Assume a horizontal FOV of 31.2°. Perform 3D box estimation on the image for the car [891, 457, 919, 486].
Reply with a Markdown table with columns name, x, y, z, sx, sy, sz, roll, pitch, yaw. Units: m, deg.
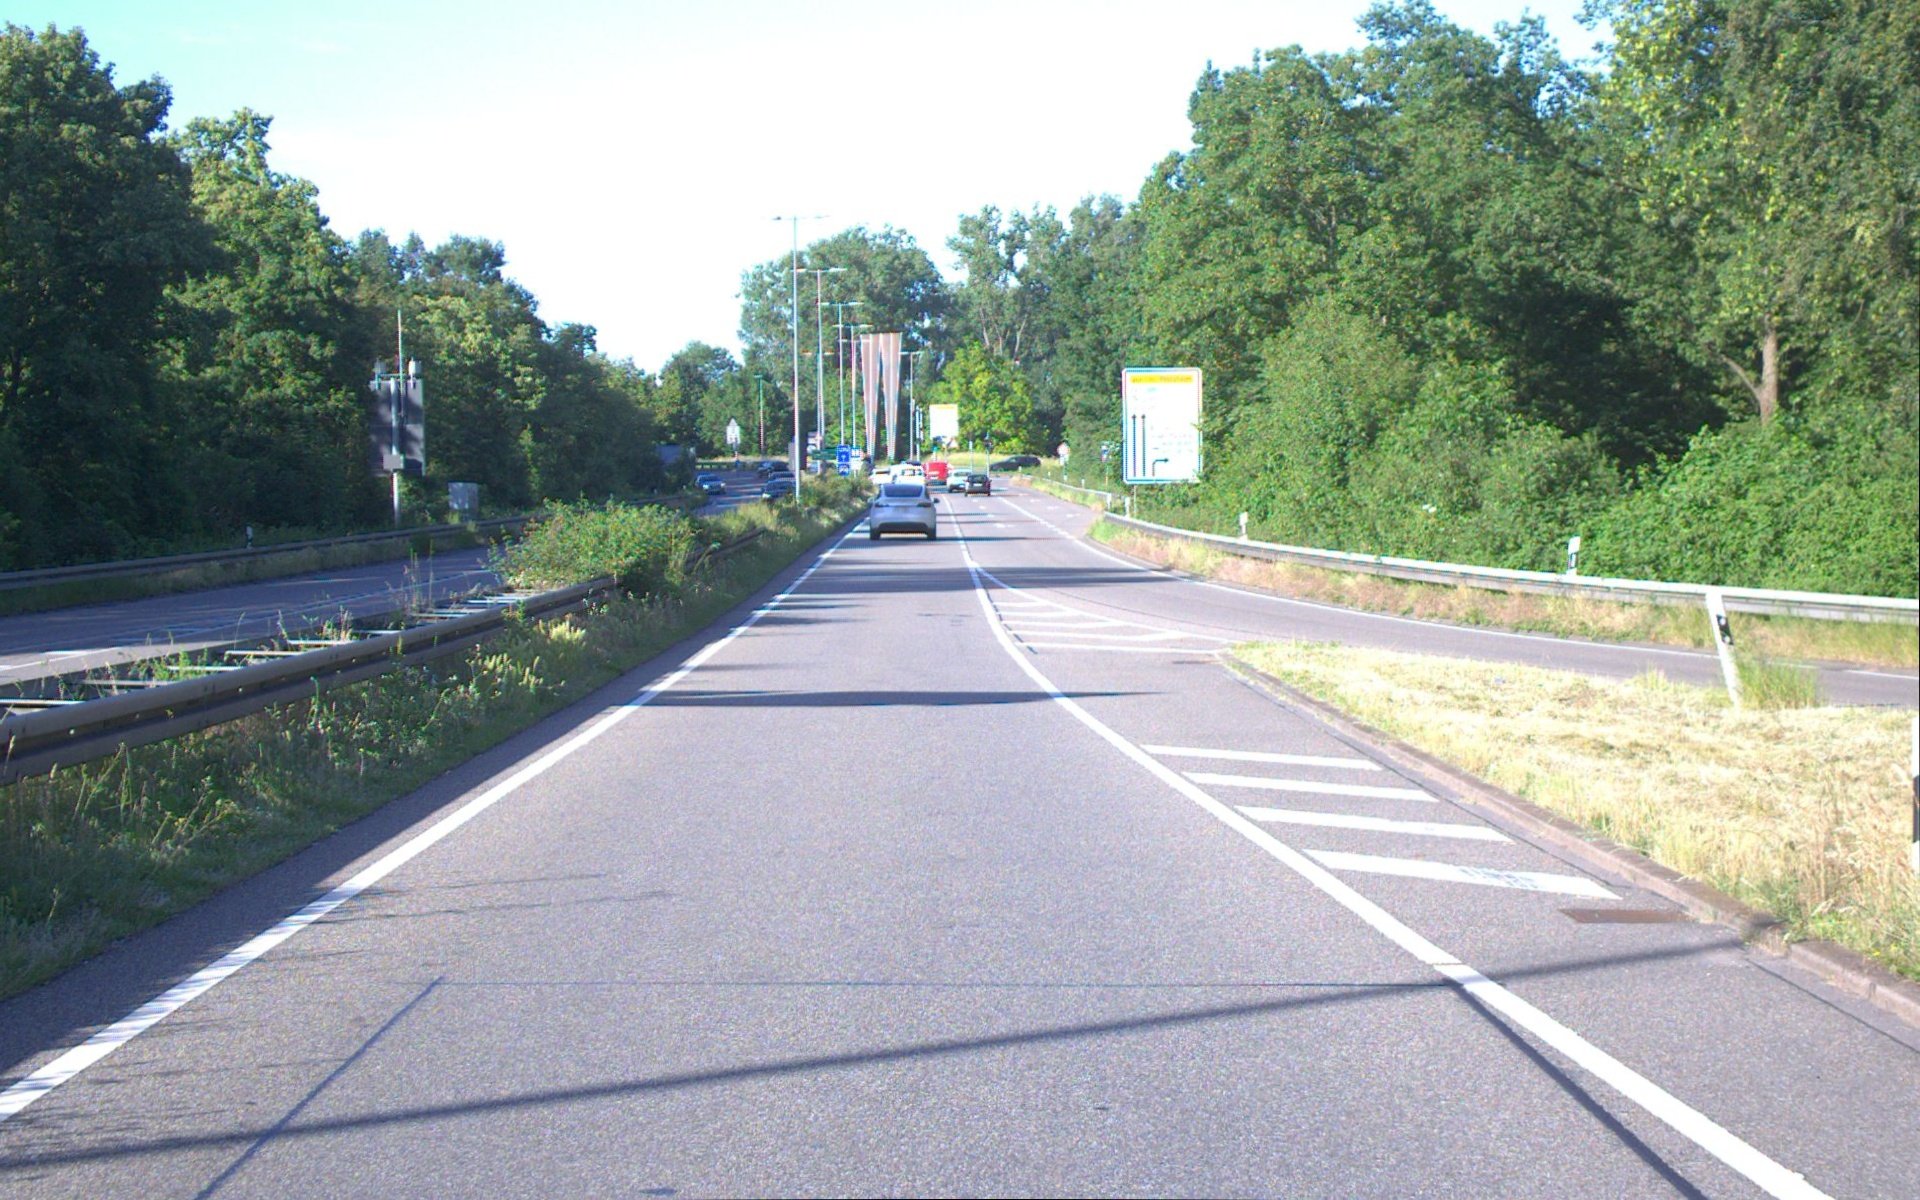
| name | x | y | z | sx | sy | sz | roll | pitch | yaw |
| --- | --- | --- | --- | --- | --- | --- | --- | --- | --- |
| car | -3.911 | -9.133 | 244.255 | 1.993 | 2.007 | 4.000 | 1 | 1 | -1 |

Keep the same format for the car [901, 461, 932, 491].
| name | x | y | z | sx | sy | sz | roll | pitch | yaw |
| --- | --- | --- | --- | --- | --- | --- | --- | --- | --- |
| car | -2.887 | -8.274 | 229.929 | 1.993 | 1.873 | 4.250 | -1 | 3 | -1 |

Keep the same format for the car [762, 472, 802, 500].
| name | x | y | z | sx | sy | sz | roll | pitch | yaw |
| --- | --- | --- | --- | --- | --- | --- | --- | --- | --- |
| car | -9.392 | -6.040 | 181.503 | 1.781 | 1.398 | 4.553 | -1 | 2 | 1 |

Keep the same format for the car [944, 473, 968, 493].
| name | x | y | z | sx | sy | sz | roll | pitch | yaw |
| --- | --- | --- | --- | --- | --- | --- | --- | --- | --- |
| car | -0.276 | -7.983 | 233.800 | 1.624 | 1.276 | 2.987 | 2 | 1 | -1 |

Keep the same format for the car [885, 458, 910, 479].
| name | x | y | z | sx | sy | sz | roll | pitch | yaw |
| --- | --- | --- | --- | --- | --- | --- | --- | --- | --- |
| car | -4.693 | -9.808 | 257.232 | 1.827 | 1.508 | 3.633 | 1 | 1 | -1 |

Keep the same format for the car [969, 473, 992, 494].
| name | x | y | z | sx | sy | sz | roll | pitch | yaw |
| --- | --- | --- | --- | --- | --- | --- | --- | --- | --- |
| car | 1.287 | -7.363 | 217.019 | 1.388 | 1.276 | 2.987 | 2 | 1 | -1 |

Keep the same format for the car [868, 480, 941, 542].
| name | x | y | z | sx | sy | sz | roll | pitch | yaw |
| --- | --- | --- | --- | --- | --- | --- | --- | --- | --- |
| car | -1.649 | -2.616 | 100.312 | 1.993 | 1.634 | 4.129 | -2 | 3 | -2 |

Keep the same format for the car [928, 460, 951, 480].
| name | x | y | z | sx | sy | sz | roll | pitch | yaw |
| --- | --- | --- | --- | --- | --- | --- | --- | --- | --- |
| car | -1.523 | -9.701 | 256.749 | 1.624 | 1.385 | 2.987 | 2 | 1 | -1 |
